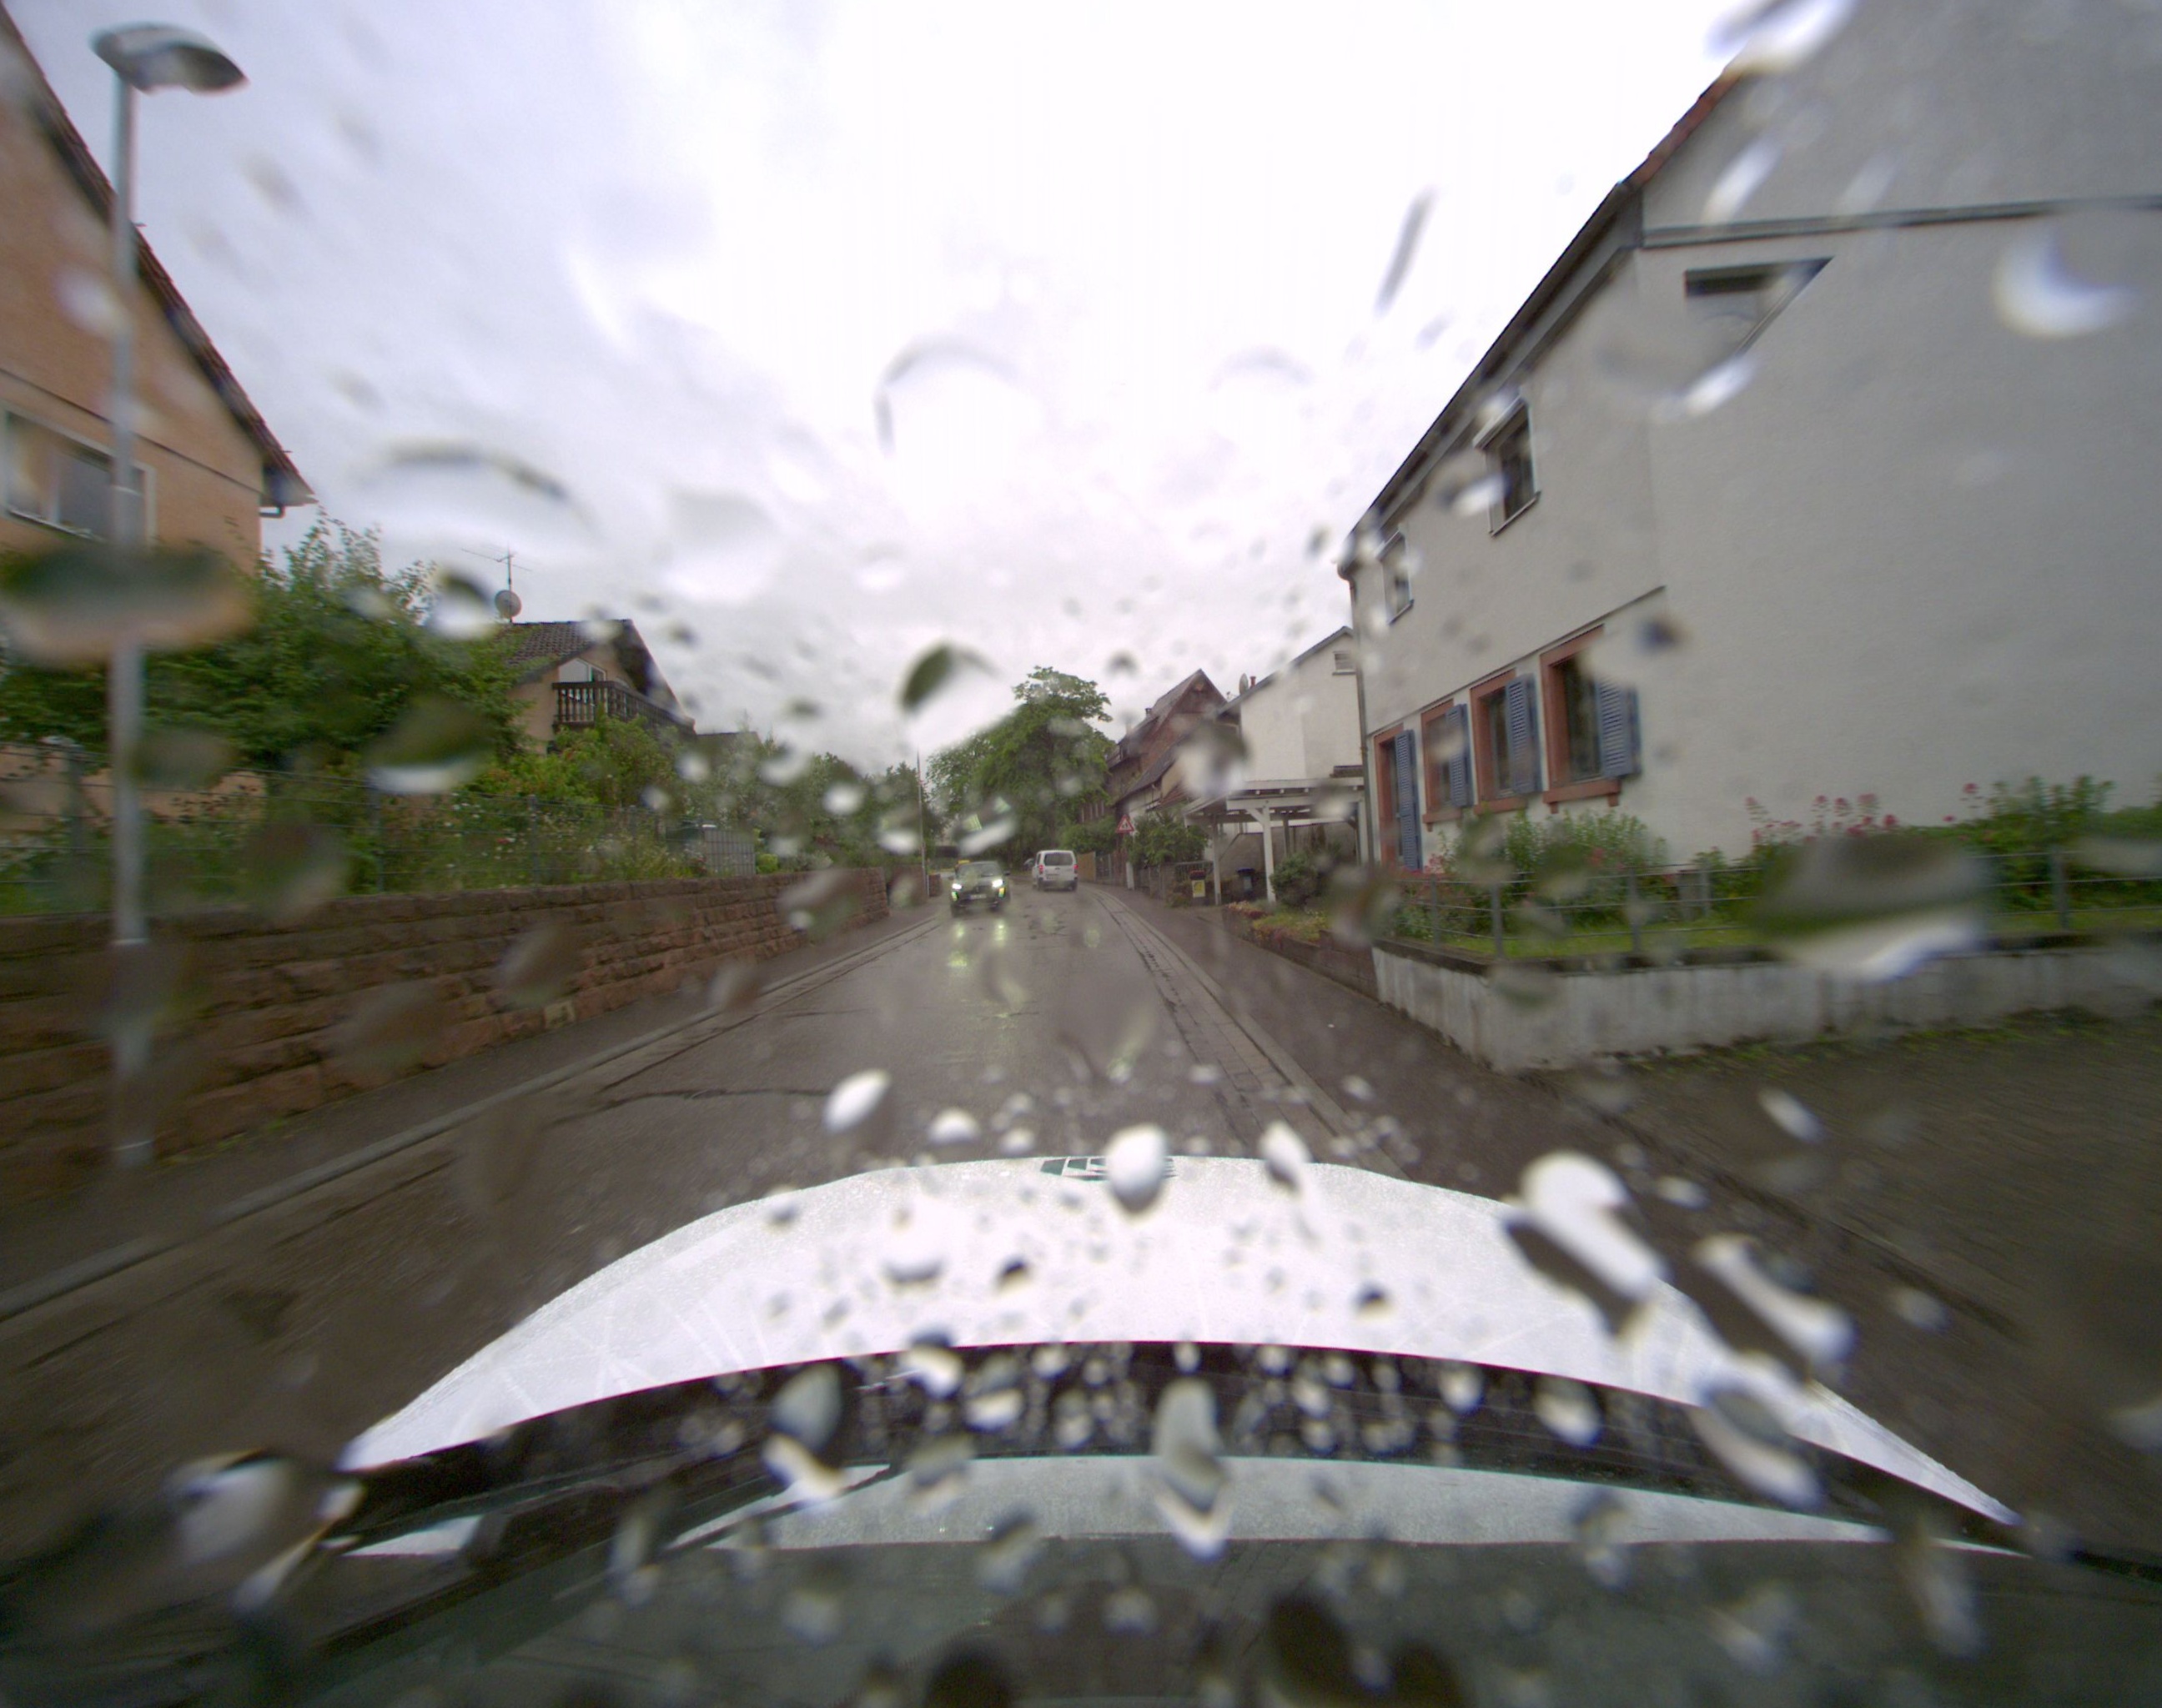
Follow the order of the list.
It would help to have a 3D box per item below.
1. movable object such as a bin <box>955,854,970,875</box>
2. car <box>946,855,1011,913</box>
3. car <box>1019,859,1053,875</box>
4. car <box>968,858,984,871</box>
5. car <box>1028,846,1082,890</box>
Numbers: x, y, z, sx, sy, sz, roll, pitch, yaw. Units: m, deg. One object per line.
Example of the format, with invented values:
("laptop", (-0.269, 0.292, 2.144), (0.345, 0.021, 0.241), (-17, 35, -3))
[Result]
("movable object such as a bin", (-14.947, 1.360, 102.438), (1.761, 2.548, 4.224), (-1, -1, -10))
("car", (-3.199, 0.887, 25.941), (1.697, 1.546, 3.845), (-5, 0, -4))
("car", (-5.027, 1.465, 91.005), (1.601, 1.551, 3.636), (-4, -1, 41))
("car", (-11.808, 1.227, 91.476), (1.708, 1.377, 3.986), (-1, -1, -10))
("car", (-1.246, 0.602, 37.322), (1.897, 1.807, 3.987), (-3, 0, -10))
